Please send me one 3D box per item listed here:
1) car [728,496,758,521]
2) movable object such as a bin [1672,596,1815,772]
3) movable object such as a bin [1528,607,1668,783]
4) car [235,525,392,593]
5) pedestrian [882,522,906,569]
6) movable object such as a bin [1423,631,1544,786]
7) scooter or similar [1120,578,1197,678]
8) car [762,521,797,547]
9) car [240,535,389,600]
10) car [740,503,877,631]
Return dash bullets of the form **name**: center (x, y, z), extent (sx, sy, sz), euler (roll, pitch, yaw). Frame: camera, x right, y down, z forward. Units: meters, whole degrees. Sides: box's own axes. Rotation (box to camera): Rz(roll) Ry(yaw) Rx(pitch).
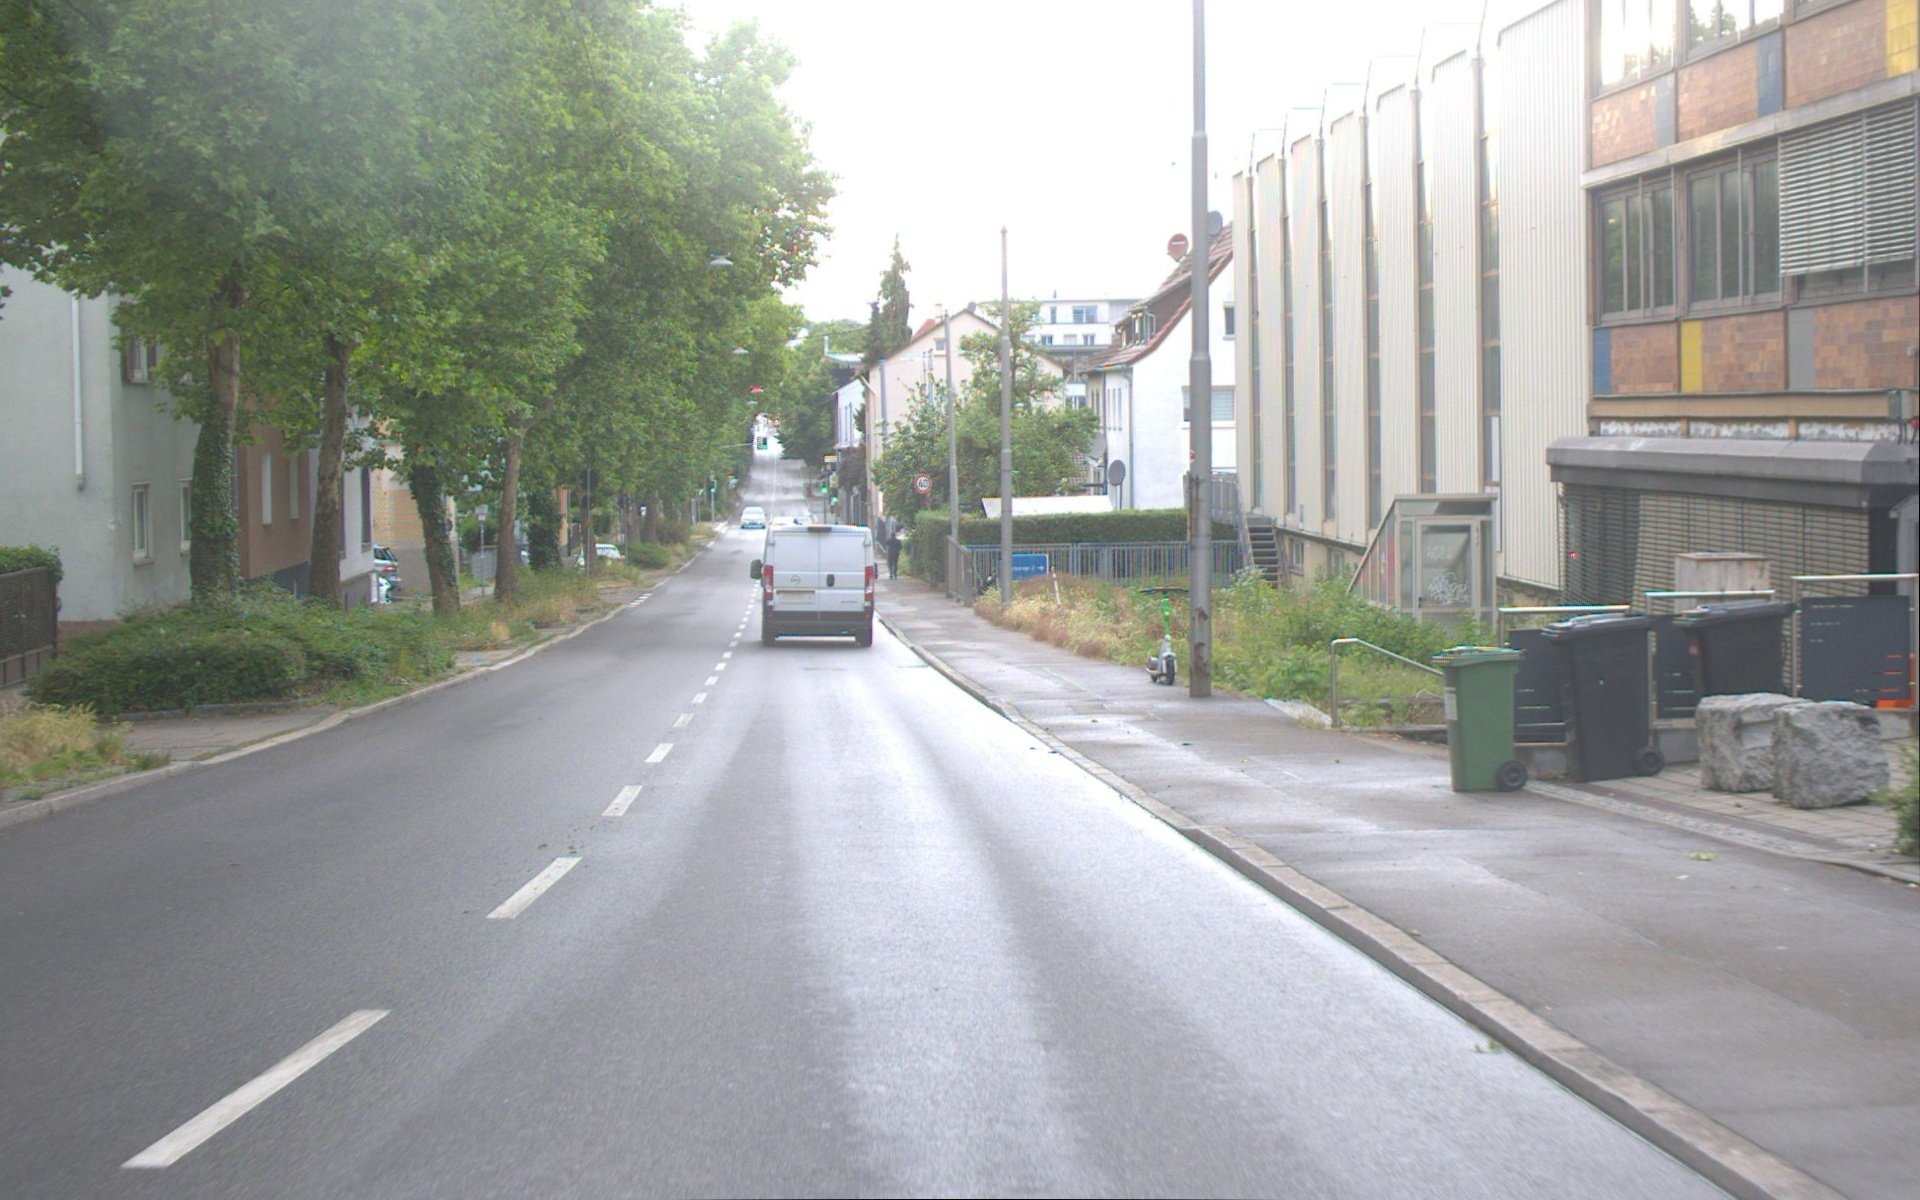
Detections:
- **car**: center (-15.478, -6.526, 245.454), extent (1.993, 1.703, 4.261), euler (0, 1, -6)
- **movable object such as a bin**: center (5.151, 0.542, 22.637), extent (0.695, 1.078, 0.778), euler (-4, 1, -1)
- **movable object such as a bin**: center (4.178, 0.613, 22.553), extent (0.695, 1.078, 0.778), euler (-4, 1, -1)
- **car**: center (-18.568, -1.193, 98.923), extent (4.196, 1.885, 2.000), euler (-1, 1, -3)
- **pedestrian**: center (-2.380, -1.985, 124.159), extent (0.815, 1.692, 0.729), euler (0, 1, -4)
- **movable object such as a bin**: center (3.400, 0.700, 22.371), extent (0.619, 0.933, 0.686), euler (-4, 1, -1)
- **scooter or similar**: center (2.376, 0.324, 41.246), extent (0.605, 1.158, 1.700), euler (-1, 1, -7)
- **car**: center (-11.220, -4.139, 214.224), extent (1.993, 1.571, 4.000), euler (0, 2, 0)
- **car**: center (-19.582, -0.989, 104.398), extent (4.196, 1.885, 2.000), euler (-1, 1, -3)
- **car**: center (-2.893, -0.673, 64.671), extent (2.346, 2.152, 4.779), euler (-2, 3, -4)
